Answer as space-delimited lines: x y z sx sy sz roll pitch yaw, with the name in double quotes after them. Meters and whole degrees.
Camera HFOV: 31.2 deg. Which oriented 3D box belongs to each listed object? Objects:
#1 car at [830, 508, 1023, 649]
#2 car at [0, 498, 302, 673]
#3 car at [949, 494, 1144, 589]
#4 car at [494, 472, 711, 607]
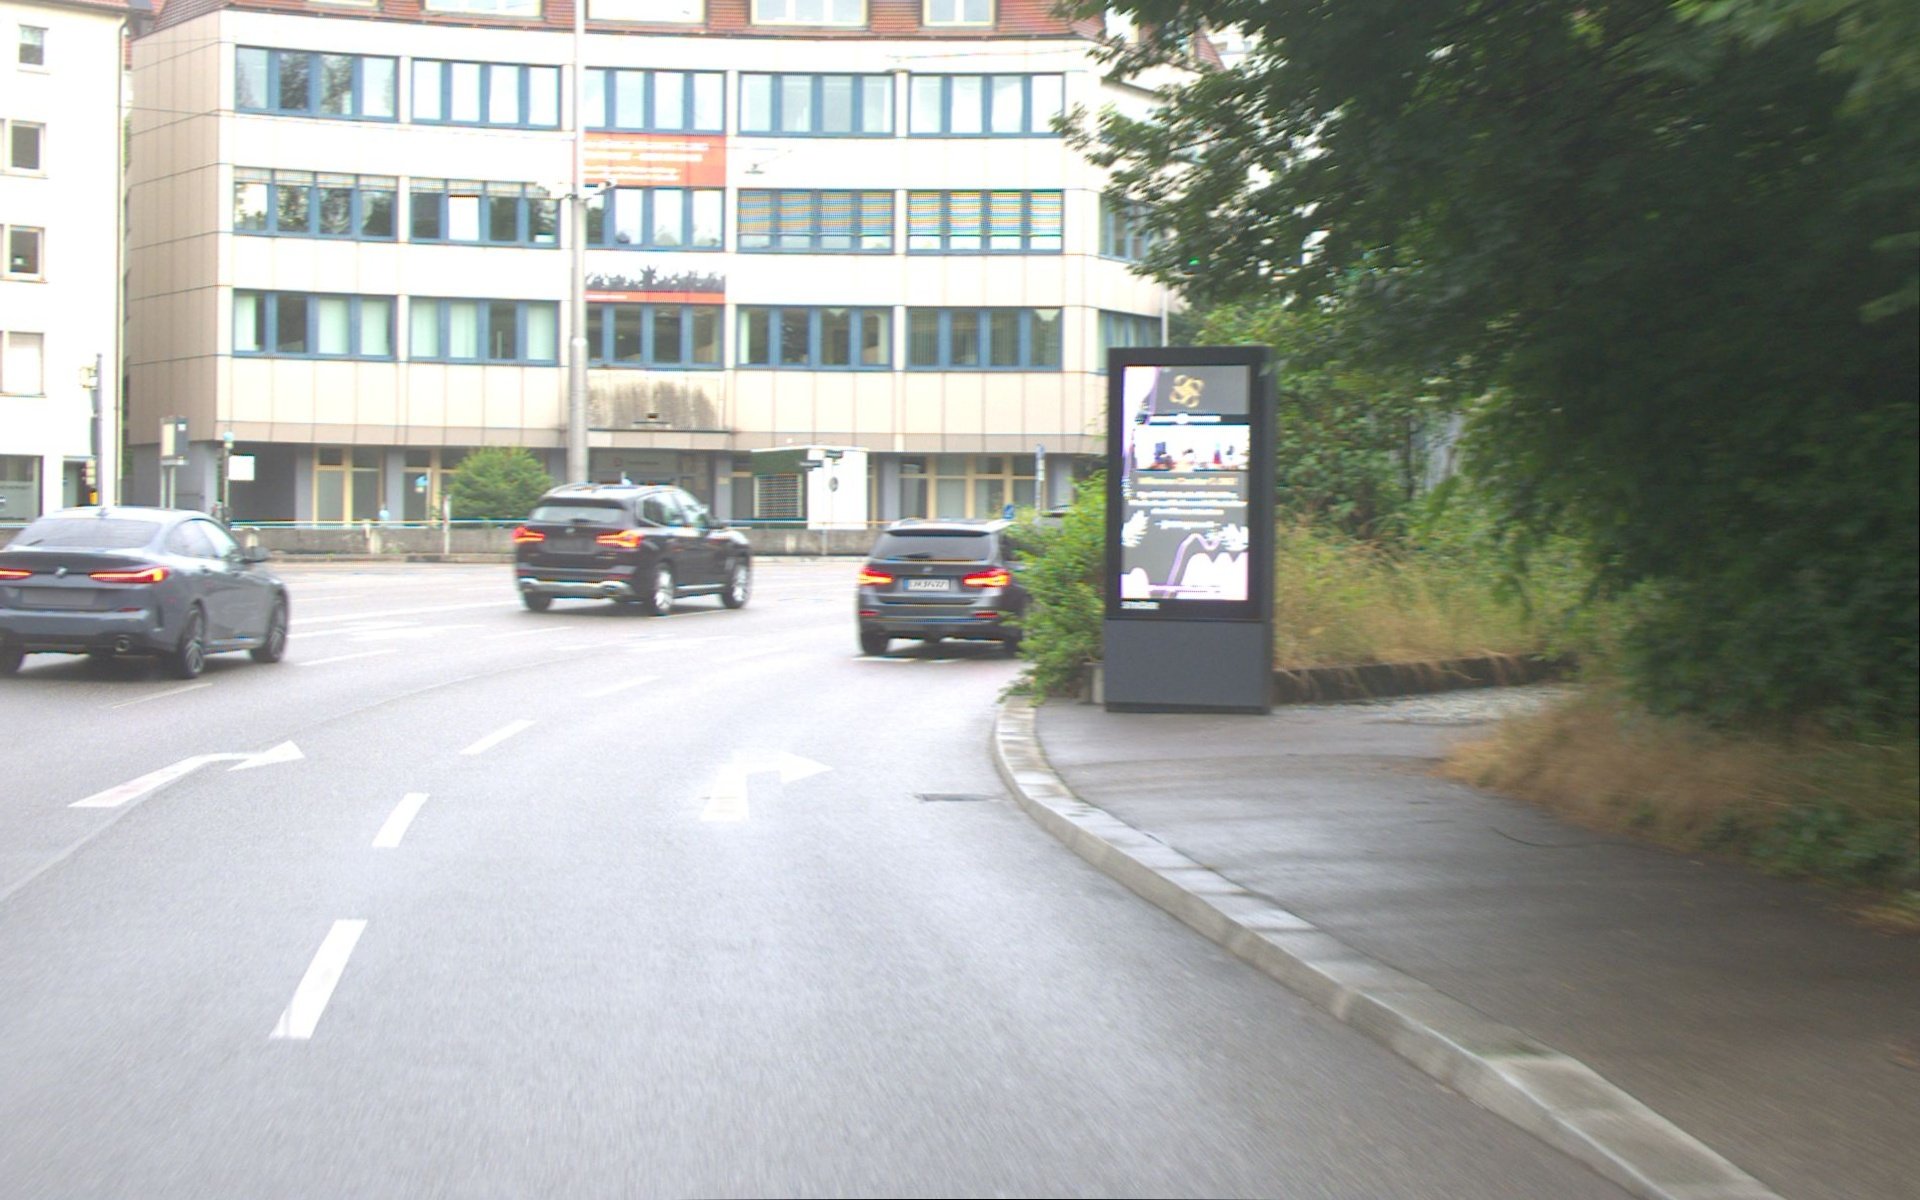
-0.312 -0.245 36.975 1.958 1.421 4.125 0 1 1 "car"
-7.210 -0.148 30.193 1.791 1.421 4.384 0 1 3 "car"
1.432 -0.954 54.890 1.793 1.421 4.609 1 2 19 "car"
-4.608 -0.778 44.853 1.900 1.687 3.999 0 1 8 "car"
